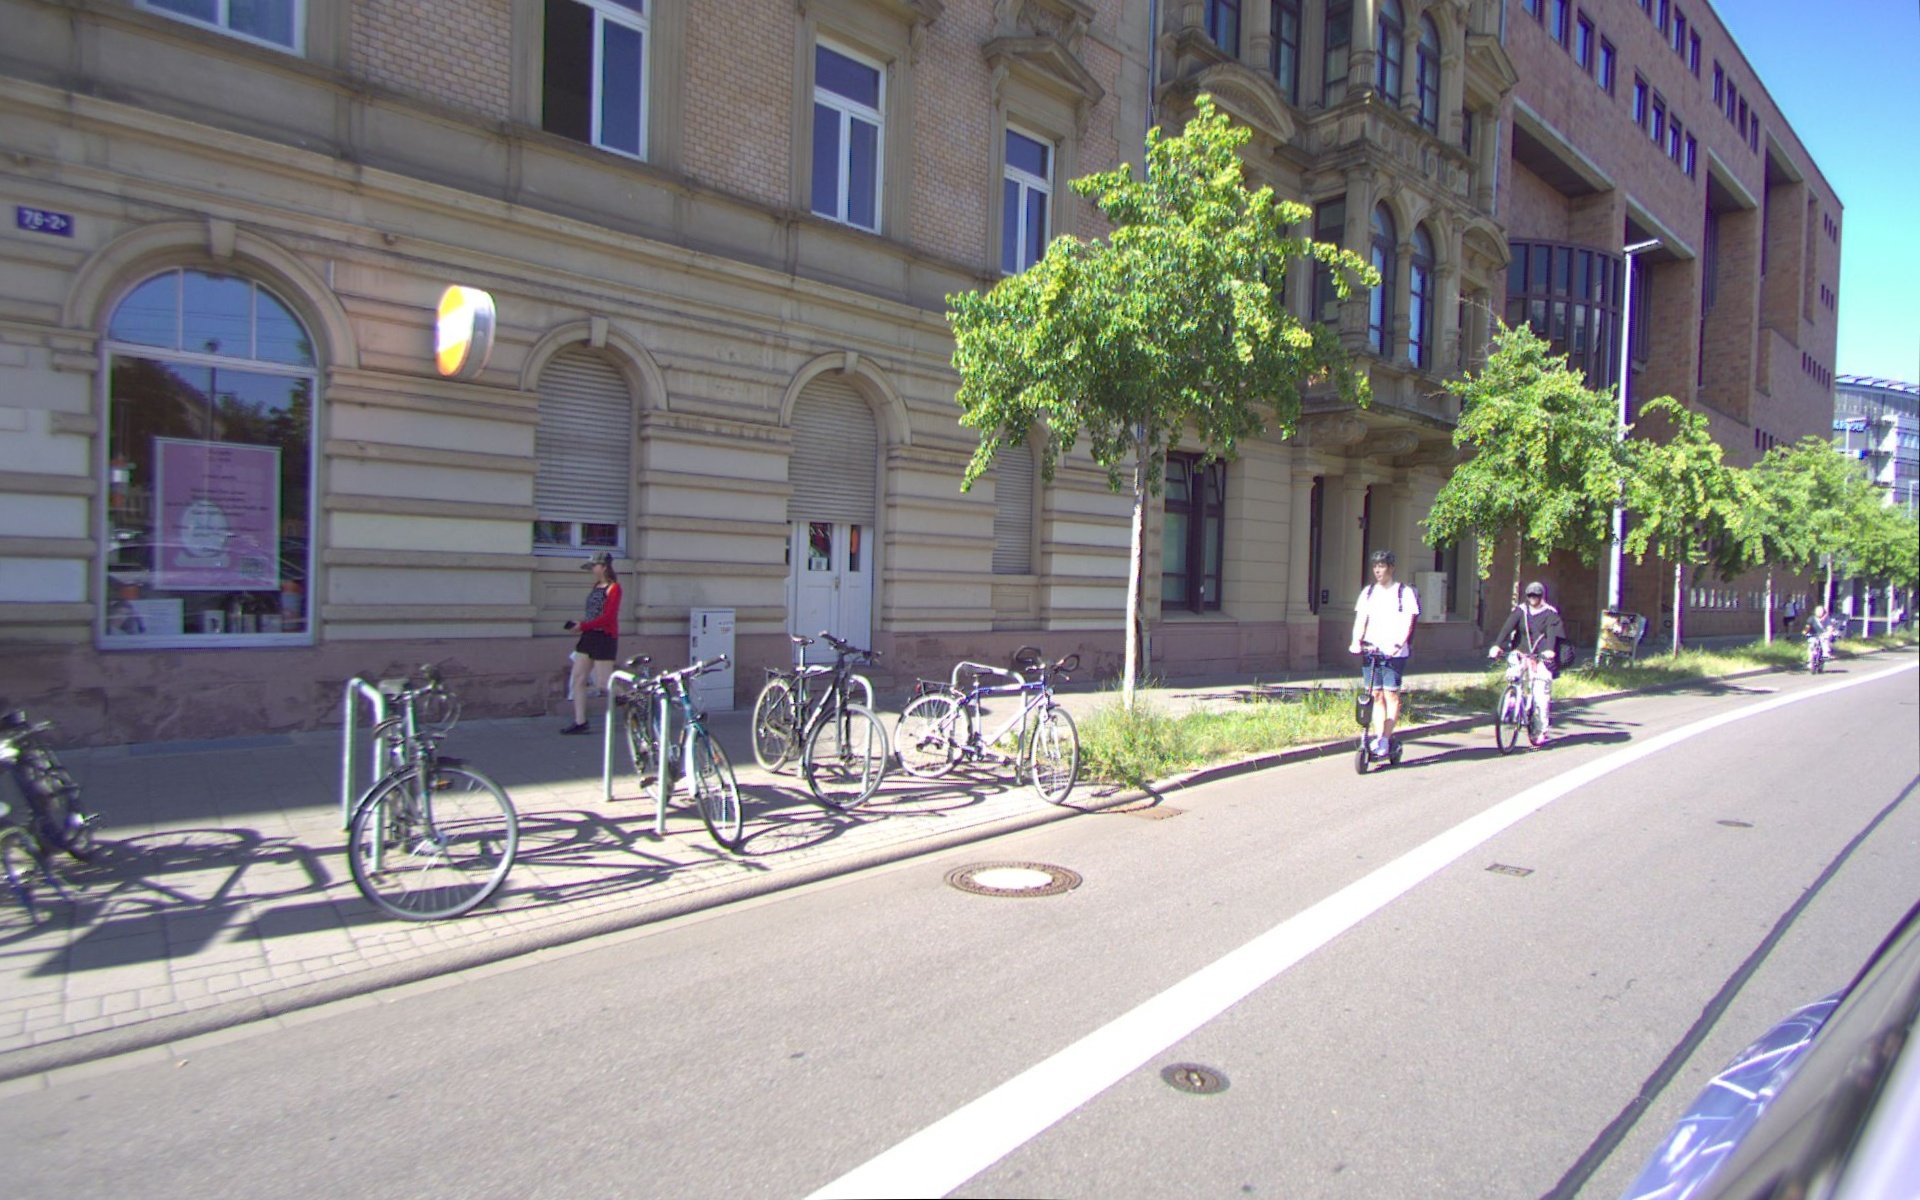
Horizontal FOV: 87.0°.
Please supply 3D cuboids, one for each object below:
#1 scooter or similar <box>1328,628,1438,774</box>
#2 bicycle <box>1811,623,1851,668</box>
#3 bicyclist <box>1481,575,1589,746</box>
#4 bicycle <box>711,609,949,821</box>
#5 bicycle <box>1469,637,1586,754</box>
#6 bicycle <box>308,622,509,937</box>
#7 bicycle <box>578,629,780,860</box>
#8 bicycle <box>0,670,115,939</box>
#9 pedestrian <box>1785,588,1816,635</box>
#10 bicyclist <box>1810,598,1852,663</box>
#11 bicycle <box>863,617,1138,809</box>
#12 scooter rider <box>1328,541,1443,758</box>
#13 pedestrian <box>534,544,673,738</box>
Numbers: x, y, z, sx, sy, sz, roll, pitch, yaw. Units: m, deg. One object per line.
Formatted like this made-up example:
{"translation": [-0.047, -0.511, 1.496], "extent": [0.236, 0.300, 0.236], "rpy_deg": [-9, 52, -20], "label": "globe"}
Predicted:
{"translation": [3.921, 0.890, 9.358], "extent": [1.150, 1.242, 0.491], "rpy_deg": [1, -1, -42], "label": "scooter or similar"}
{"translation": [21.414, 1.106, 24.872], "extent": [1.481, 1.040, 0.558], "rpy_deg": [0, -1, -42], "label": "bicycle"}
{"translation": [6.165, 0.613, 10.859], "extent": [0.853, 1.733, 0.780], "rpy_deg": [1, -1, -41], "label": "bicyclist"}
{"translation": [-0.997, 0.722, 7.239], "extent": [0.697, 1.142, 2.001], "rpy_deg": [1, 4, -39], "label": "bicycle"}
{"translation": [6.121, 0.979, 10.871], "extent": [1.761, 1.106, 0.558], "rpy_deg": [0, -1, -42], "label": "bicycle"}
{"translation": [-2.750, 0.745, 4.948], "extent": [0.595, 1.114, 1.729], "rpy_deg": [1, 4, -37], "label": "bicycle"}
{"translation": [-1.749, 0.784, 6.131], "extent": [0.595, 1.058, 1.605], "rpy_deg": [1, 4, -37], "label": "bicycle"}
{"translation": [-4.216, 0.821, 4.434], "extent": [0.595, 0.831, 1.677], "rpy_deg": [1, 2, -34], "label": "bicycle"}
{"translation": [34.625, 0.466, 41.694], "extent": [1.087, 1.906, 0.789], "rpy_deg": [0, 2, -41], "label": "pedestrian"}
{"translation": [21.439, 0.731, 24.906], "extent": [0.893, 1.557, 0.658], "rpy_deg": [1, -1, -42], "label": "bicyclist"}
{"translation": [0.269, 0.787, 7.827], "extent": [1.993, 1.105, 0.835], "rpy_deg": [6, 4, 40], "label": "bicycle"}
{"translation": [3.930, 0.430, 9.341], "extent": [0.885, 1.884, 0.667], "rpy_deg": [1, -1, -42], "label": "scooter rider"}
{"translation": [-3.071, 0.317, 8.710], "extent": [0.911, 1.561, 0.710], "rpy_deg": [0, 2, -41], "label": "pedestrian"}
